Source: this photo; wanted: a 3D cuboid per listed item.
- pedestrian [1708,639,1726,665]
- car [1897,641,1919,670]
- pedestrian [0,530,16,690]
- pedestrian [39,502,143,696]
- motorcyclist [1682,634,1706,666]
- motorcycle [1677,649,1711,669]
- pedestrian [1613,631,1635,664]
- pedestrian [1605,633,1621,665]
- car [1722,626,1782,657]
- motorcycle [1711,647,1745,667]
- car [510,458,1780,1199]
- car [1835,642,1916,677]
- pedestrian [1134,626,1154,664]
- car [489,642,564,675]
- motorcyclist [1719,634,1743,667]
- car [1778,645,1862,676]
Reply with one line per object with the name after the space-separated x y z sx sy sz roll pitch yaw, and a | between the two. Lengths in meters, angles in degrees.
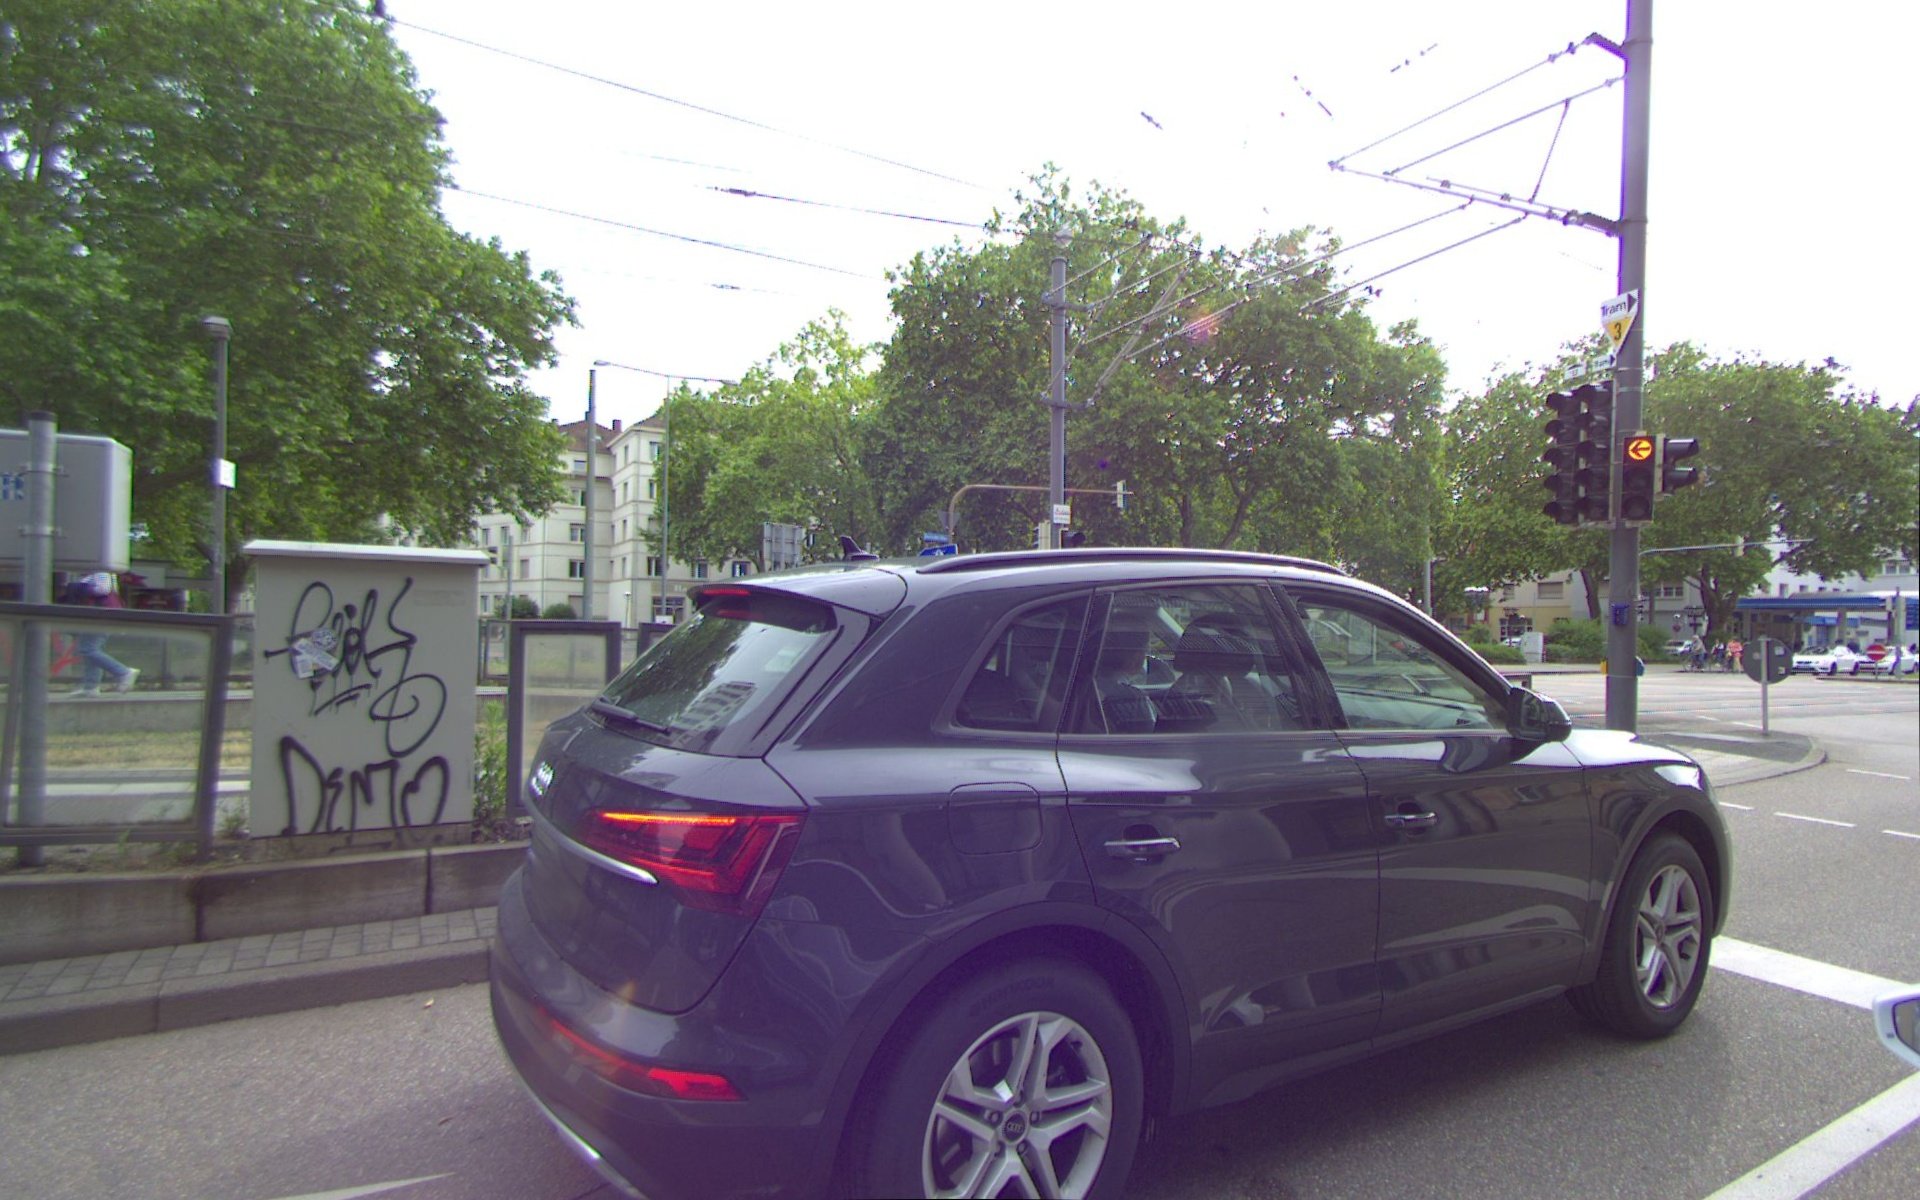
43.643 2.993 57.890 0.550 1.499 0.644 2 -1 -30 | pedestrian
52.789 3.037 54.604 3.593 1.497 1.649 2 0 -29 | car
-10.948 0.102 11.028 0.658 1.773 0.732 2 0 -30 | pedestrian
-9.226 -0.004 10.692 0.658 1.976 0.732 2 0 -30 | pedestrian
35.786 2.428 48.964 0.863 1.540 0.617 2 -1 -30 | motorcyclist
35.784 2.859 48.963 1.928 0.941 0.604 2 -1 -30 | motorcycle
36.249 2.583 54.824 0.858 1.735 0.874 1 -1 22 | pedestrian
35.696 2.671 54.923 0.679 1.735 0.868 0 -1 31 | pedestrian
54.609 2.883 69.273 3.953 2.040 1.984 2 -1 -30 | car
36.961 2.729 48.349 1.928 0.941 0.604 2 -1 -30 | motorcycle
0.833 0.647 3.460 4.177 1.658 1.725 2 0 -30 | car
46.986 3.025 51.522 3.953 1.615 1.984 2 0 -30 | car
7.579 1.844 41.341 0.644 1.530 0.683 1 -1 -3 | pedestrian
-24.631 3.286 57.065 3.929 1.706 1.996 0 -1 31 | car
37.231 2.429 48.509 0.863 1.540 0.617 2 -1 -30 | motorcyclist
41.376 2.911 48.331 4.025 1.338 1.739 2 0 -29 | car
